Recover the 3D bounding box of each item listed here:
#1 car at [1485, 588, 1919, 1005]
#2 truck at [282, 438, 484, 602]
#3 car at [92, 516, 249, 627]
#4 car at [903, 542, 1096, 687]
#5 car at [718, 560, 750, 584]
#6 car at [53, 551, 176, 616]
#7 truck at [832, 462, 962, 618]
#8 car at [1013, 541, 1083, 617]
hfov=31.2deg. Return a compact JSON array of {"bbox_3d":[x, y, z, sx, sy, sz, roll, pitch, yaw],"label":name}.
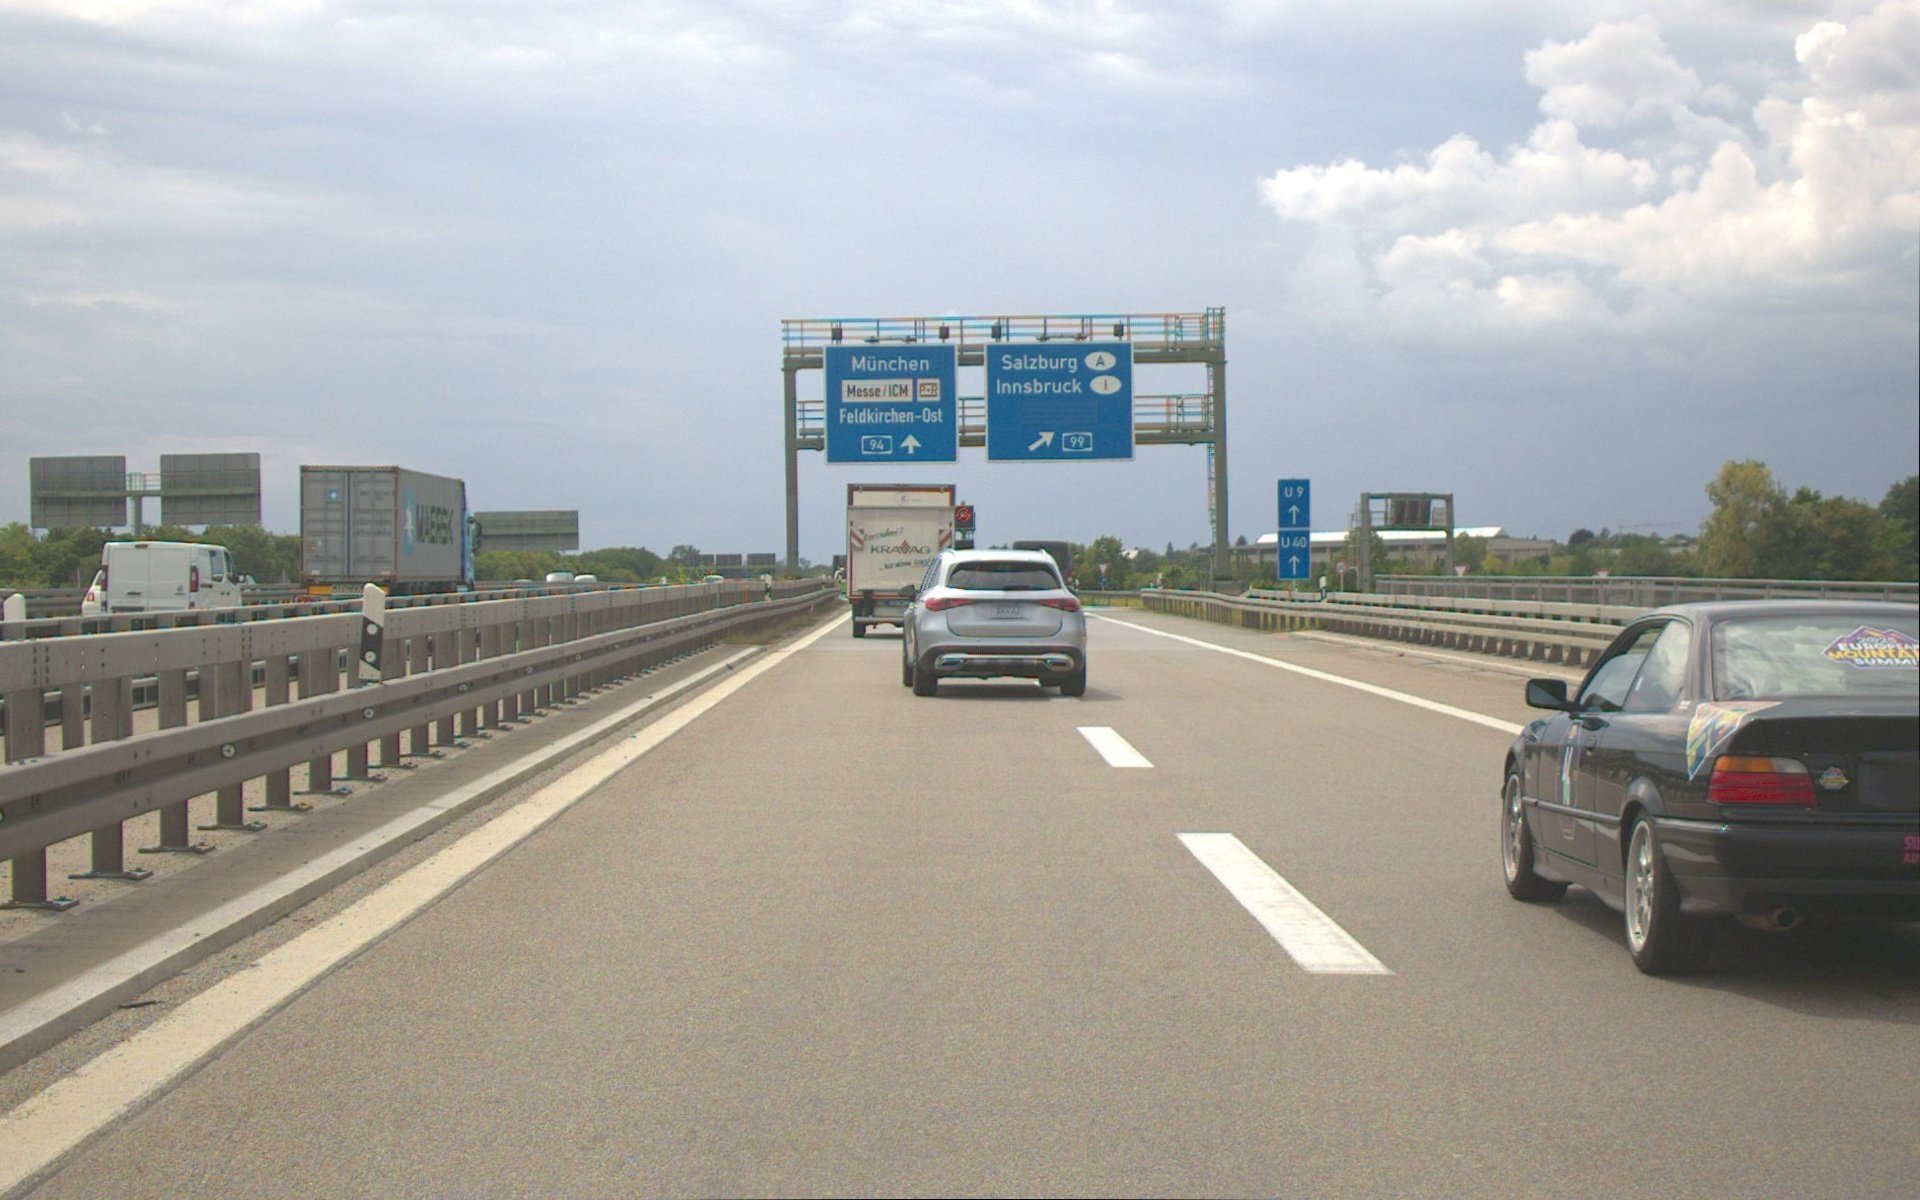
[{"bbox_3d":[3.214,0.642,13.405,1.704,1.277,4.366,1,1,1],"label":"car"},{"bbox_3d":[-15.394,-2.135,93.112,3.183,4.005,16.077,1,1,-2],"label":"truck"},{"bbox_3d":[-14.957,-0.573,65.335,1.993,2.007,4.375,1,1,-1],"label":"car"},{"bbox_3d":[0.396,0.123,38.885,1.819,1.509,4.001,1,1,-4],"label":"car"},{"bbox_3d":[-15.251,-1.923,232.359,1.828,1.557,4.000,0,1,1],"label":"car"},{"bbox_3d":[-19.615,-0.400,79.921,1.798,1.415,4.000,1,1,1],"label":"car"},{"bbox_3d":[-1.327,-1.198,73.617,2.569,3.115,8.634,1,0,-1],"label":"truck"},{"bbox_3d":[2.696,-0.665,106.060,1.906,2.254,4.649,1,1,-1],"label":"car"}]
